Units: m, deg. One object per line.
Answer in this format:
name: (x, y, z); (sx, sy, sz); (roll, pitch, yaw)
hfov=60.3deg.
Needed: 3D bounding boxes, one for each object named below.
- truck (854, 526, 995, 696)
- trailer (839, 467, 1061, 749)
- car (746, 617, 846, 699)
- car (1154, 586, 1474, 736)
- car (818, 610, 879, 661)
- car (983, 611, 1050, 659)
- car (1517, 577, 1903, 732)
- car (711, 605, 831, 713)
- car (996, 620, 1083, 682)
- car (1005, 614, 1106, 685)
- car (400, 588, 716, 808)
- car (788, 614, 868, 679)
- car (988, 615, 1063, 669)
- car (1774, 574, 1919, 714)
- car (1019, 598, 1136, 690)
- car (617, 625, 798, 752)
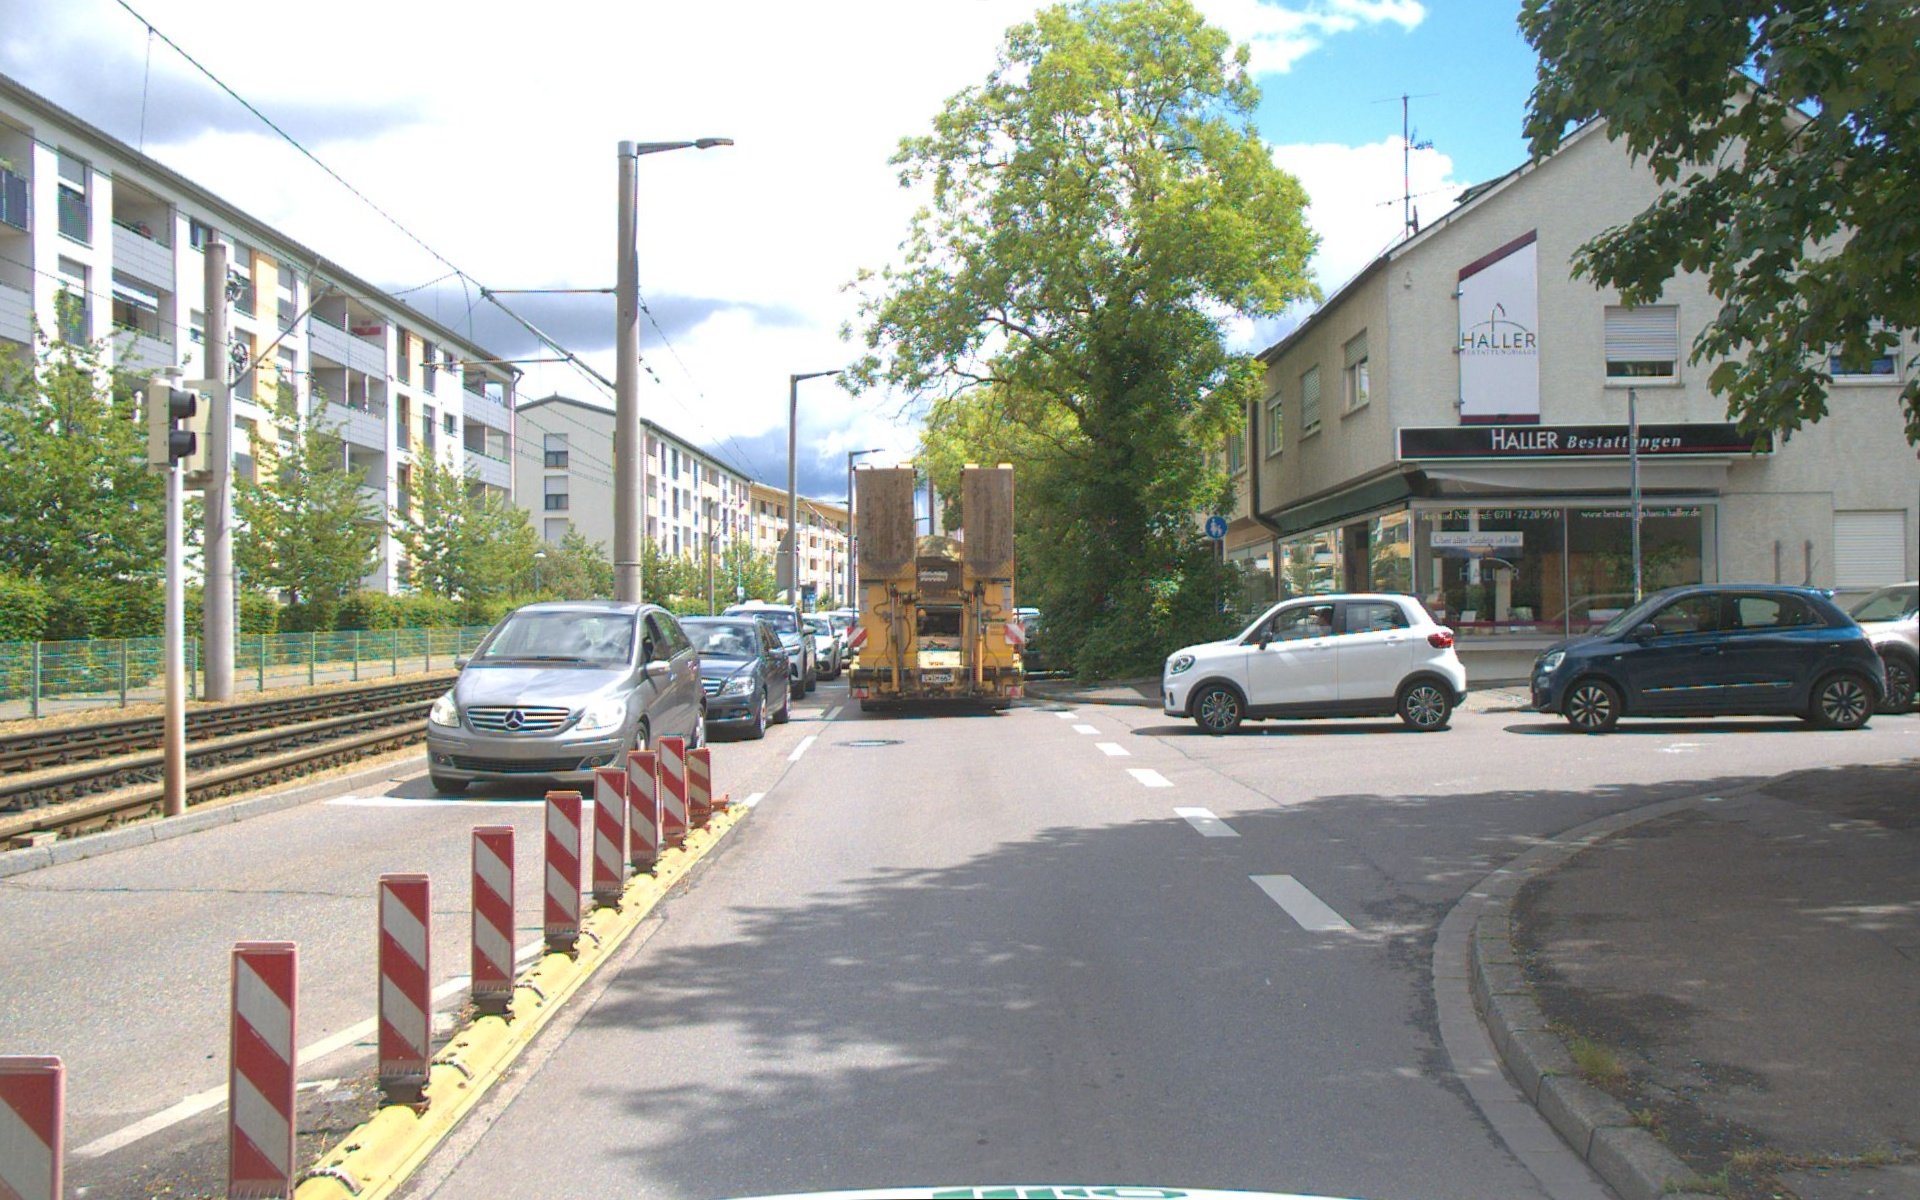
truck: (-0.972, 0.172, 37.933); (2.778, 3.388, 7.978); (-2, 1, -4)
trailer: (-0.498, 0.037, 28.972); (2.990, 3.838, 11.604); (-2, 1, -4)
car: (-3.694, 1.283, 37.863); (1.953, 1.621, 3.890); (-2, 1, -2)
car: (4.187, 0.720, 19.859); (3.521, 1.612, 2.002); (-2, -1, 10)
car: (-3.948, 1.231, 59.031); (1.953, 1.612, 3.999); (-2, 1, -2)
car: (1.856, 1.158, 55.813); (1.953, 1.411, 3.999); (-2, 1, -2)
car: (8.209, 0.587, 18.474); (3.619, 1.549, 2.002); (-2, 1, 16)
car: (-3.330, 1.018, 29.708); (1.568, 1.762, 3.938); (-2, -1, 1)
car: (2.057, 1.308, 43.903); (1.953, 1.411, 3.999); (-2, 1, -2)
car: (2.174, 1.114, 38.720); (1.953, 1.411, 3.999); (-2, 1, -2)
car: (-3.493, 0.809, 15.160); (1.765, 1.681, 4.132); (-2, -1, 1)
car: (-3.568, 1.229, 45.274); (1.953, 1.546, 3.890); (-2, 1, -2)
car: (1.927, 1.235, 49.724); (1.953, 1.411, 3.999); (-2, 1, -2)
car: (12.015, 0.465, 20.137); (3.393, 1.550, 1.707); (-2, 1, -9)
car: (2.332, 0.842, 33.833); (1.953, 1.646, 3.999); (-2, 1, -2)
car: (-3.092, 1.043, 20.941); (1.568, 1.405, 3.957); (-2, -1, 1)
